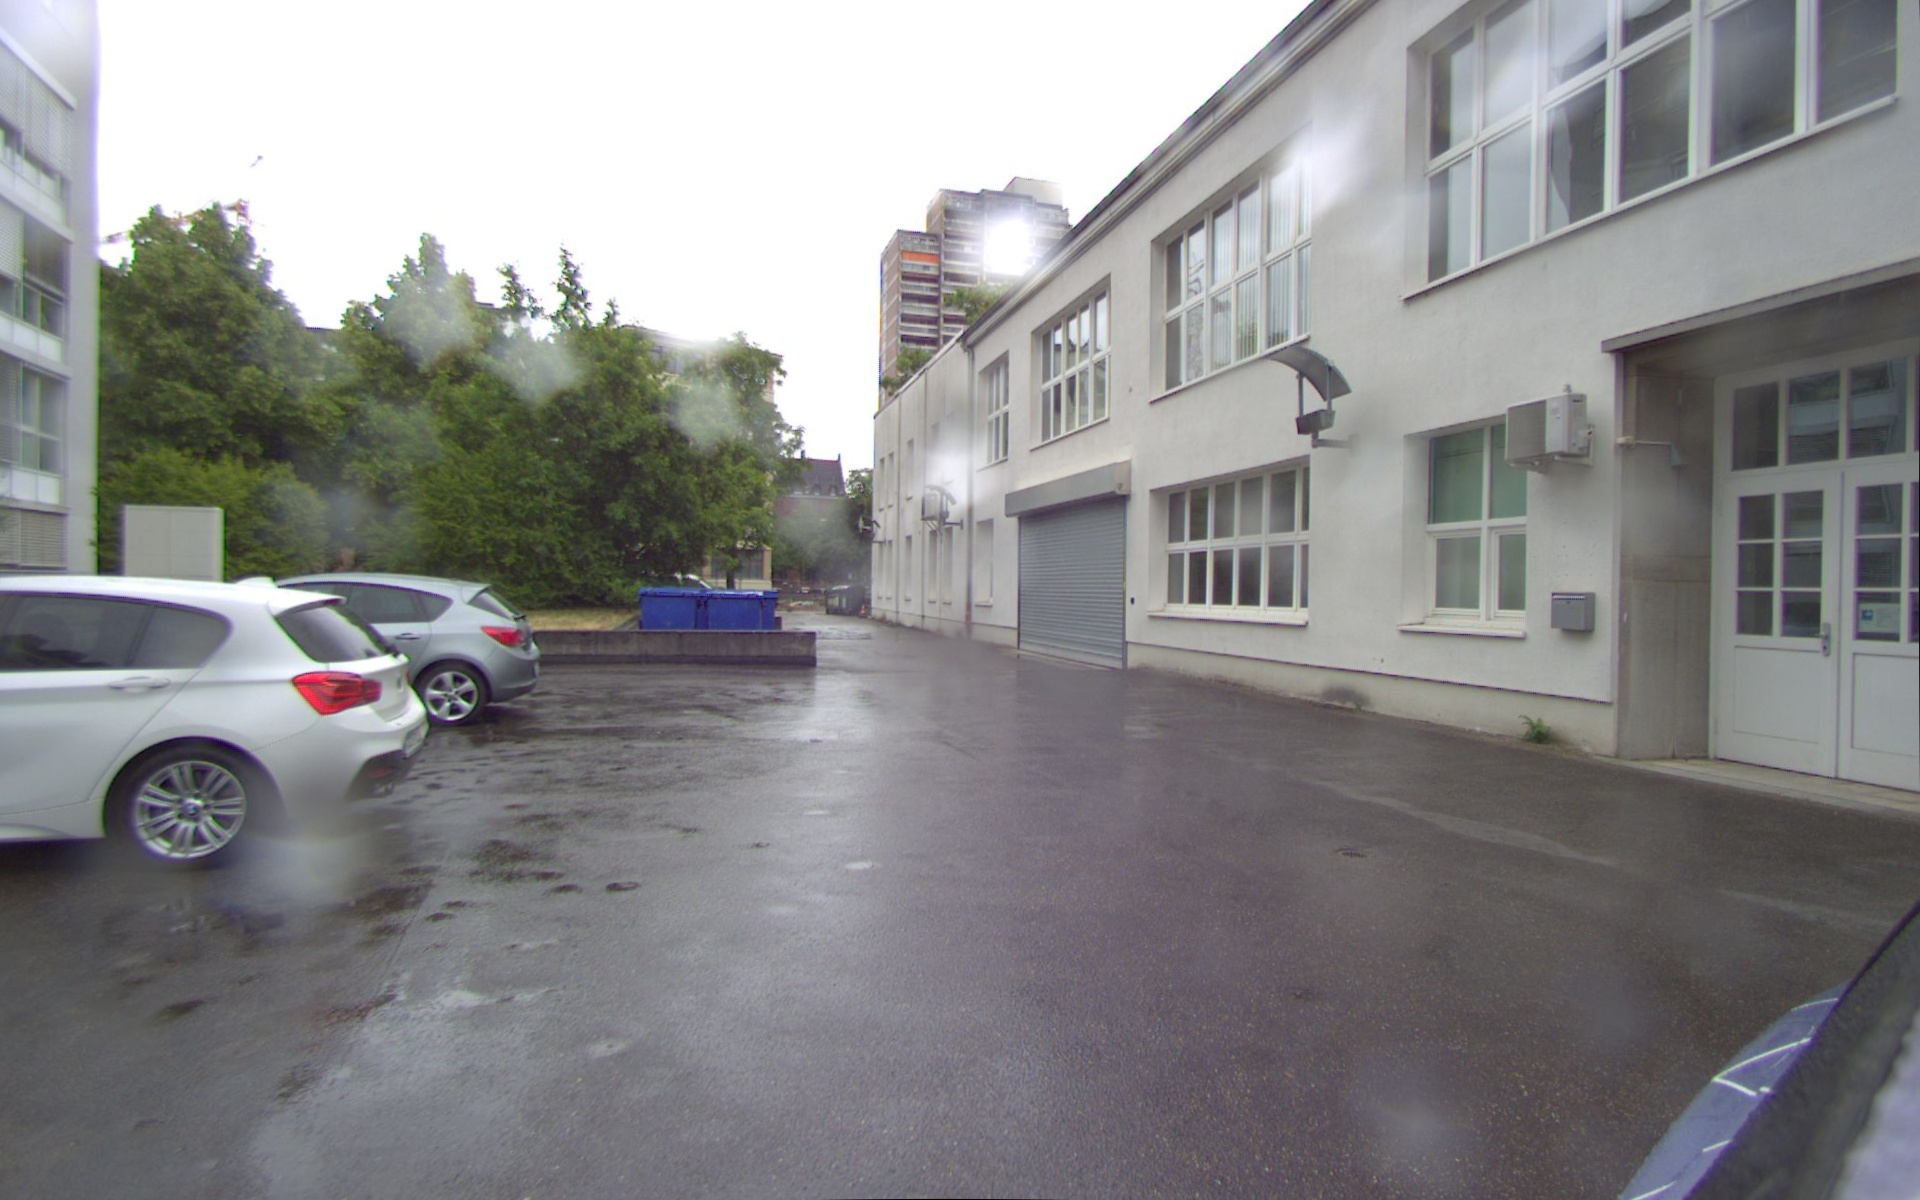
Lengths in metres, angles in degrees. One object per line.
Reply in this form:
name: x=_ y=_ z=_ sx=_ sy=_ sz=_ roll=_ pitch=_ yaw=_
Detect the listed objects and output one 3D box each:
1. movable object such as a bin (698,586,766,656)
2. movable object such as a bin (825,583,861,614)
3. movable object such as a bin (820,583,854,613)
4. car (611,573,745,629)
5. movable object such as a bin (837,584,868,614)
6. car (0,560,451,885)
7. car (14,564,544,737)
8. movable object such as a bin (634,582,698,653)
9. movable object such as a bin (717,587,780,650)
movable object such as a bin: x=-4.839 y=0.433 z=21.358 sx=1.286 sy=1.375 sz=1.908 roll=-1 pitch=-1 yaw=-15
movable object such as a bin: x=-5.760 y=-0.073 z=49.694 sx=1.461 sy=1.467 sz=1.316 roll=-1 pitch=-1 yaw=-20
movable object such as a bin: x=-6.201 y=-0.080 z=50.973 sx=1.461 sy=1.467 sz=1.316 roll=-1 pitch=-1 yaw=-20
car: x=-10.332 y=0.049 z=37.343 sx=4.600 sy=1.906 sz=2.126 roll=-1 pitch=-2 yaw=-13
movable object such as a bin: x=-5.145 y=-0.031 z=48.217 sx=1.163 sy=1.391 sz=1.316 roll=-1 pitch=-1 yaw=-20
car: x=-5.222 y=0.563 z=5.504 sx=4.132 sy=1.508 sz=2.004 roll=0 pitch=0 yaw=-19
car: x=-6.586 y=0.444 z=10.421 sx=4.132 sy=1.508 sz=2.004 roll=0 pitch=0 yaw=-19
movable object such as a bin: x=-6.088 y=0.358 z=21.020 sx=1.207 sy=1.375 sz=1.974 roll=-1 pitch=-1 yaw=-15
movable object such as a bin: x=-4.904 y=0.416 z=23.327 sx=1.286 sy=1.375 sz=1.908 roll=-1 pitch=-1 yaw=-15
